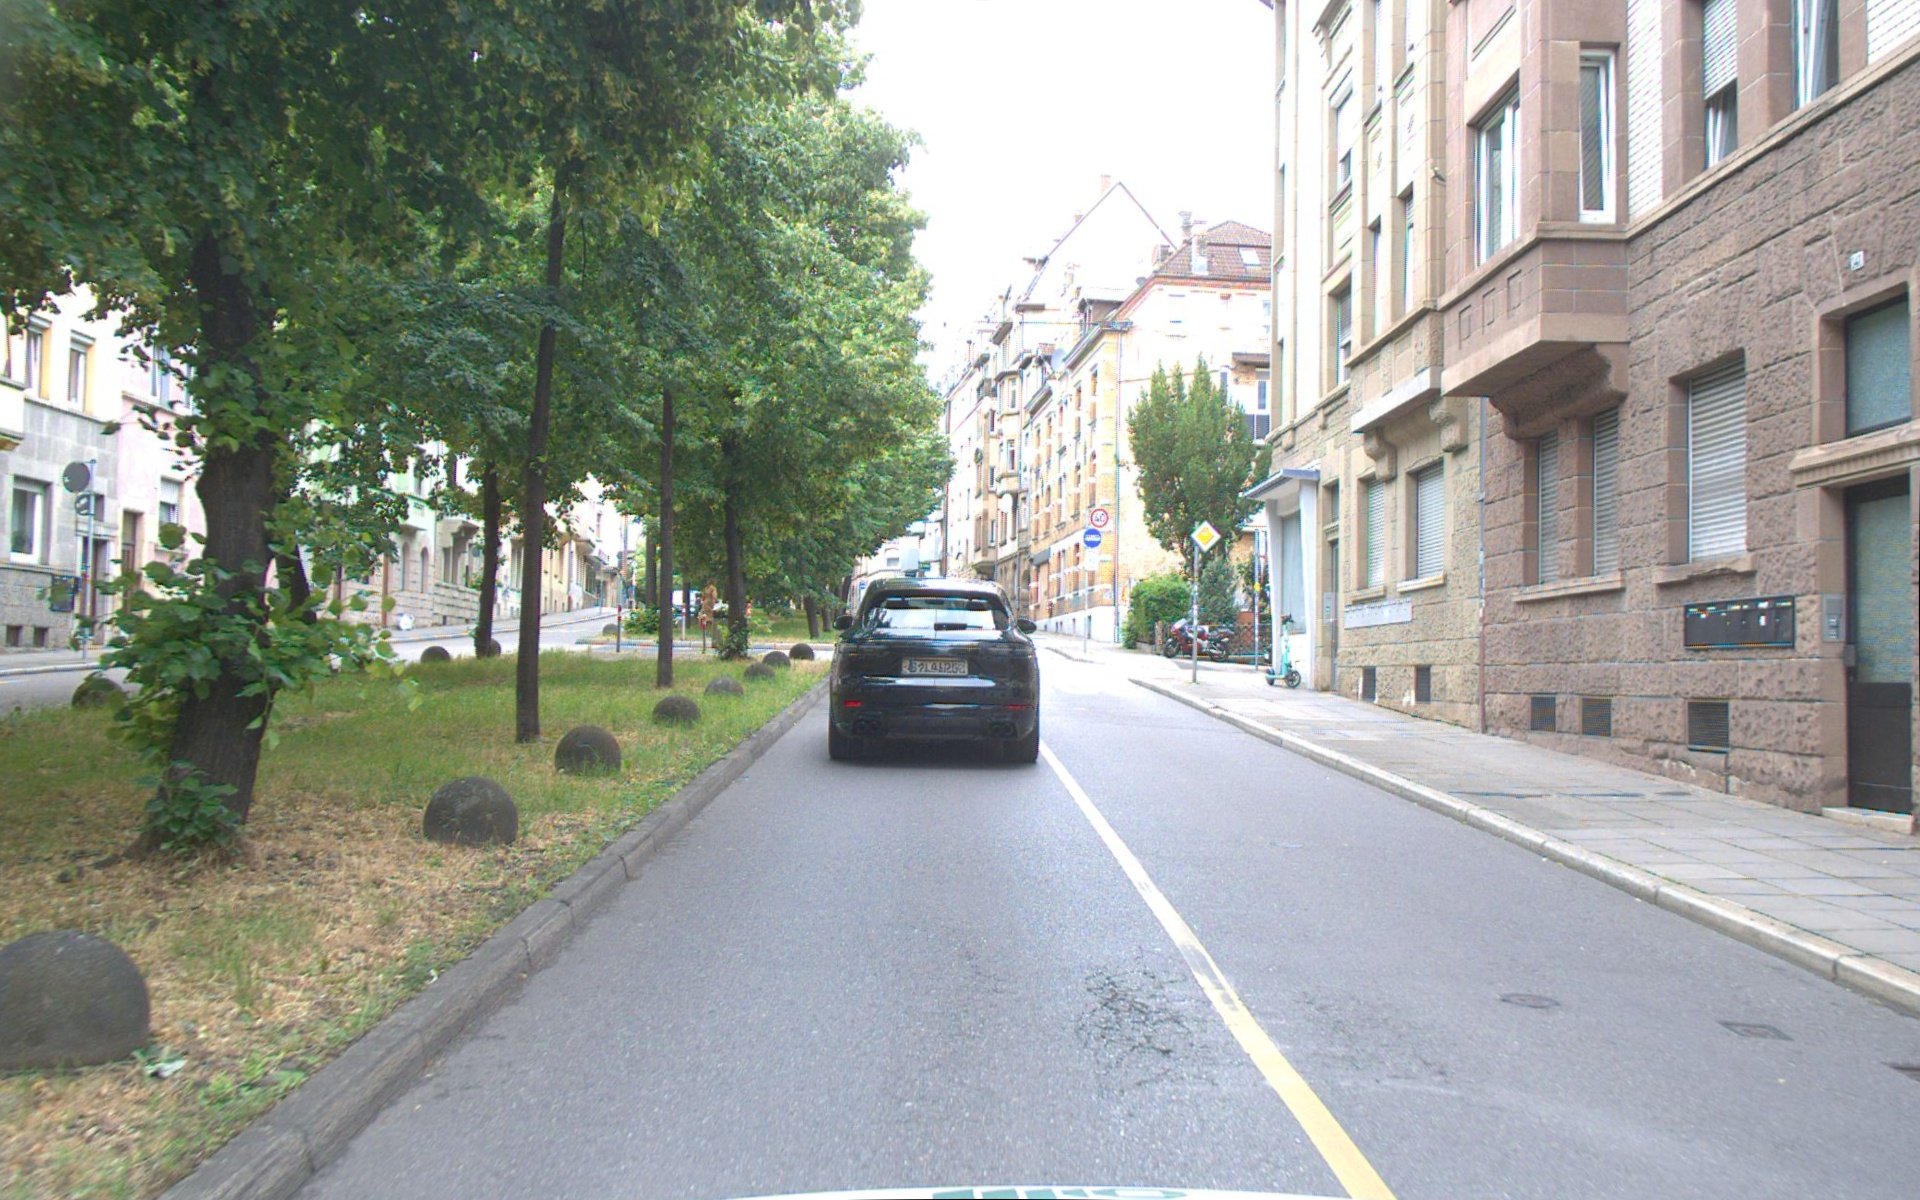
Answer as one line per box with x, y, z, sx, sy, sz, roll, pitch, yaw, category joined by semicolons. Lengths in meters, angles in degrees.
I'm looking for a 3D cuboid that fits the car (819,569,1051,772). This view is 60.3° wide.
-0.327;0.588;16.328;1.954;1.694;3.998;2;1;-3;car

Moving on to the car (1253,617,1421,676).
10.137;1.237;44.653;4.043;1.307;1.782;2;3;-4;car

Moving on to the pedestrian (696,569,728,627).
-7.844;-0.049;52.270;0.816;1.742;1.122;-2;-2;-2;pedestrian

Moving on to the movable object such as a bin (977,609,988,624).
1.343;0.982;98.119;0.583;0.920;0.562;2;-1;-7;movable object such as a bin

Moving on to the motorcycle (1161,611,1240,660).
6.844;1.000;47.160;2.016;1.290;1.009;3;0;-6;motorcycle

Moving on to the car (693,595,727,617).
-17.169;0.379;113.765;1.722;1.406;4.668;0;1;-1;car

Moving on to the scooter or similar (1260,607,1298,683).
5.544;0.768;28.772;0.401;1.231;1.145;-1;3;-2;scooter or similar

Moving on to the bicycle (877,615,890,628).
-7.268;2.084;157.417;0.863;1.149;2.973;2;-2;-9;bicycle

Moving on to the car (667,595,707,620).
-16.258;0.413;98.808;1.674;1.406;4.668;0;1;-1;car

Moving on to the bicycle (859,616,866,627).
-9.909;2.200;168.348;0.438;1.055;2.242;1;-3;-10;bicycle
